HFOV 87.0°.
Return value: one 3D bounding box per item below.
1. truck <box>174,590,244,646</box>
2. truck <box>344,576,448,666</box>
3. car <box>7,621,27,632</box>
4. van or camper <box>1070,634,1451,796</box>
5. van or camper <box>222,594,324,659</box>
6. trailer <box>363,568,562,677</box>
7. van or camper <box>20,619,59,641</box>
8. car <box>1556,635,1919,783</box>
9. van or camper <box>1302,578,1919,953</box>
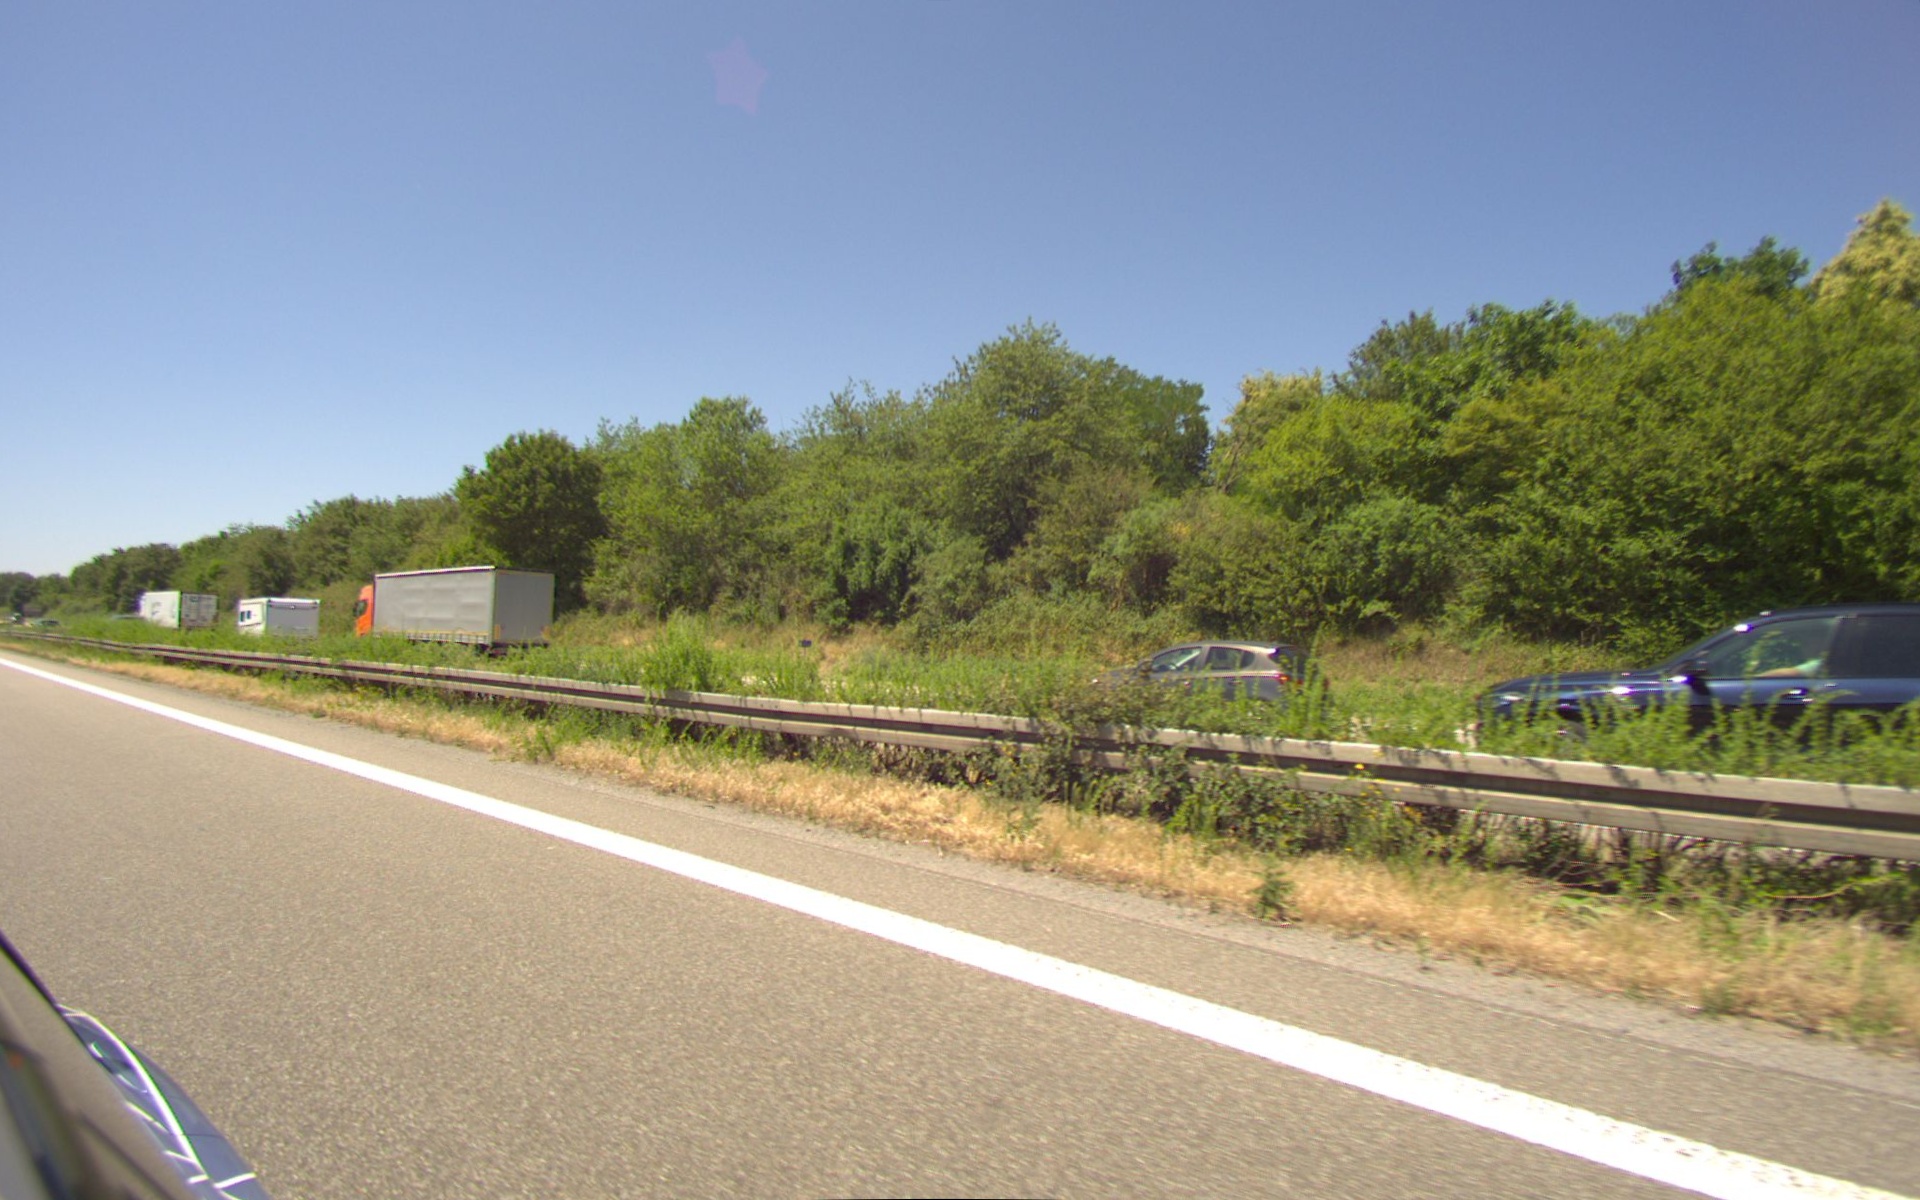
[{"bbox_3d":[-57.830,1.350,77.901,5.942,4.180,3.160,-1,0,42],"label":"truck"},{"bbox_3d":[-28.440,1.011,50.979,5.175,4.263,3.103,-1,0,42],"label":"truck"},{"bbox_3d":[-155.189,4.351,166.557,4.301,1.929,1.973,-1,-2,41],"label":"car"},{"bbox_3d":[4.393,1.557,15.438,5.246,2.029,1.972,-1,-3,42],"label":"van or camper"},{"bbox_3d":[-34.516,1.264,50.716,7.859,2.989,2.584,-1,0,43],"label":"van or camper"},{"bbox_3d":[-22.890,0.939,45.789,14.479,4.280,3.110,-1,0,43],"label":"trailer"},{"bbox_3d":[-78.108,2.522,85.836,5.058,1.764,1.972,-1,-2,43],"label":"van or camper"},{"bbox_3d":[11.199,1.434,14.753,4.000,1.730,1.972,-1,0,43],"label":"car"},{"bbox_3d":[6.522,1.217,8.758,6.454,2.646,2.100,-1,-3,40],"label":"van or camper"}]
